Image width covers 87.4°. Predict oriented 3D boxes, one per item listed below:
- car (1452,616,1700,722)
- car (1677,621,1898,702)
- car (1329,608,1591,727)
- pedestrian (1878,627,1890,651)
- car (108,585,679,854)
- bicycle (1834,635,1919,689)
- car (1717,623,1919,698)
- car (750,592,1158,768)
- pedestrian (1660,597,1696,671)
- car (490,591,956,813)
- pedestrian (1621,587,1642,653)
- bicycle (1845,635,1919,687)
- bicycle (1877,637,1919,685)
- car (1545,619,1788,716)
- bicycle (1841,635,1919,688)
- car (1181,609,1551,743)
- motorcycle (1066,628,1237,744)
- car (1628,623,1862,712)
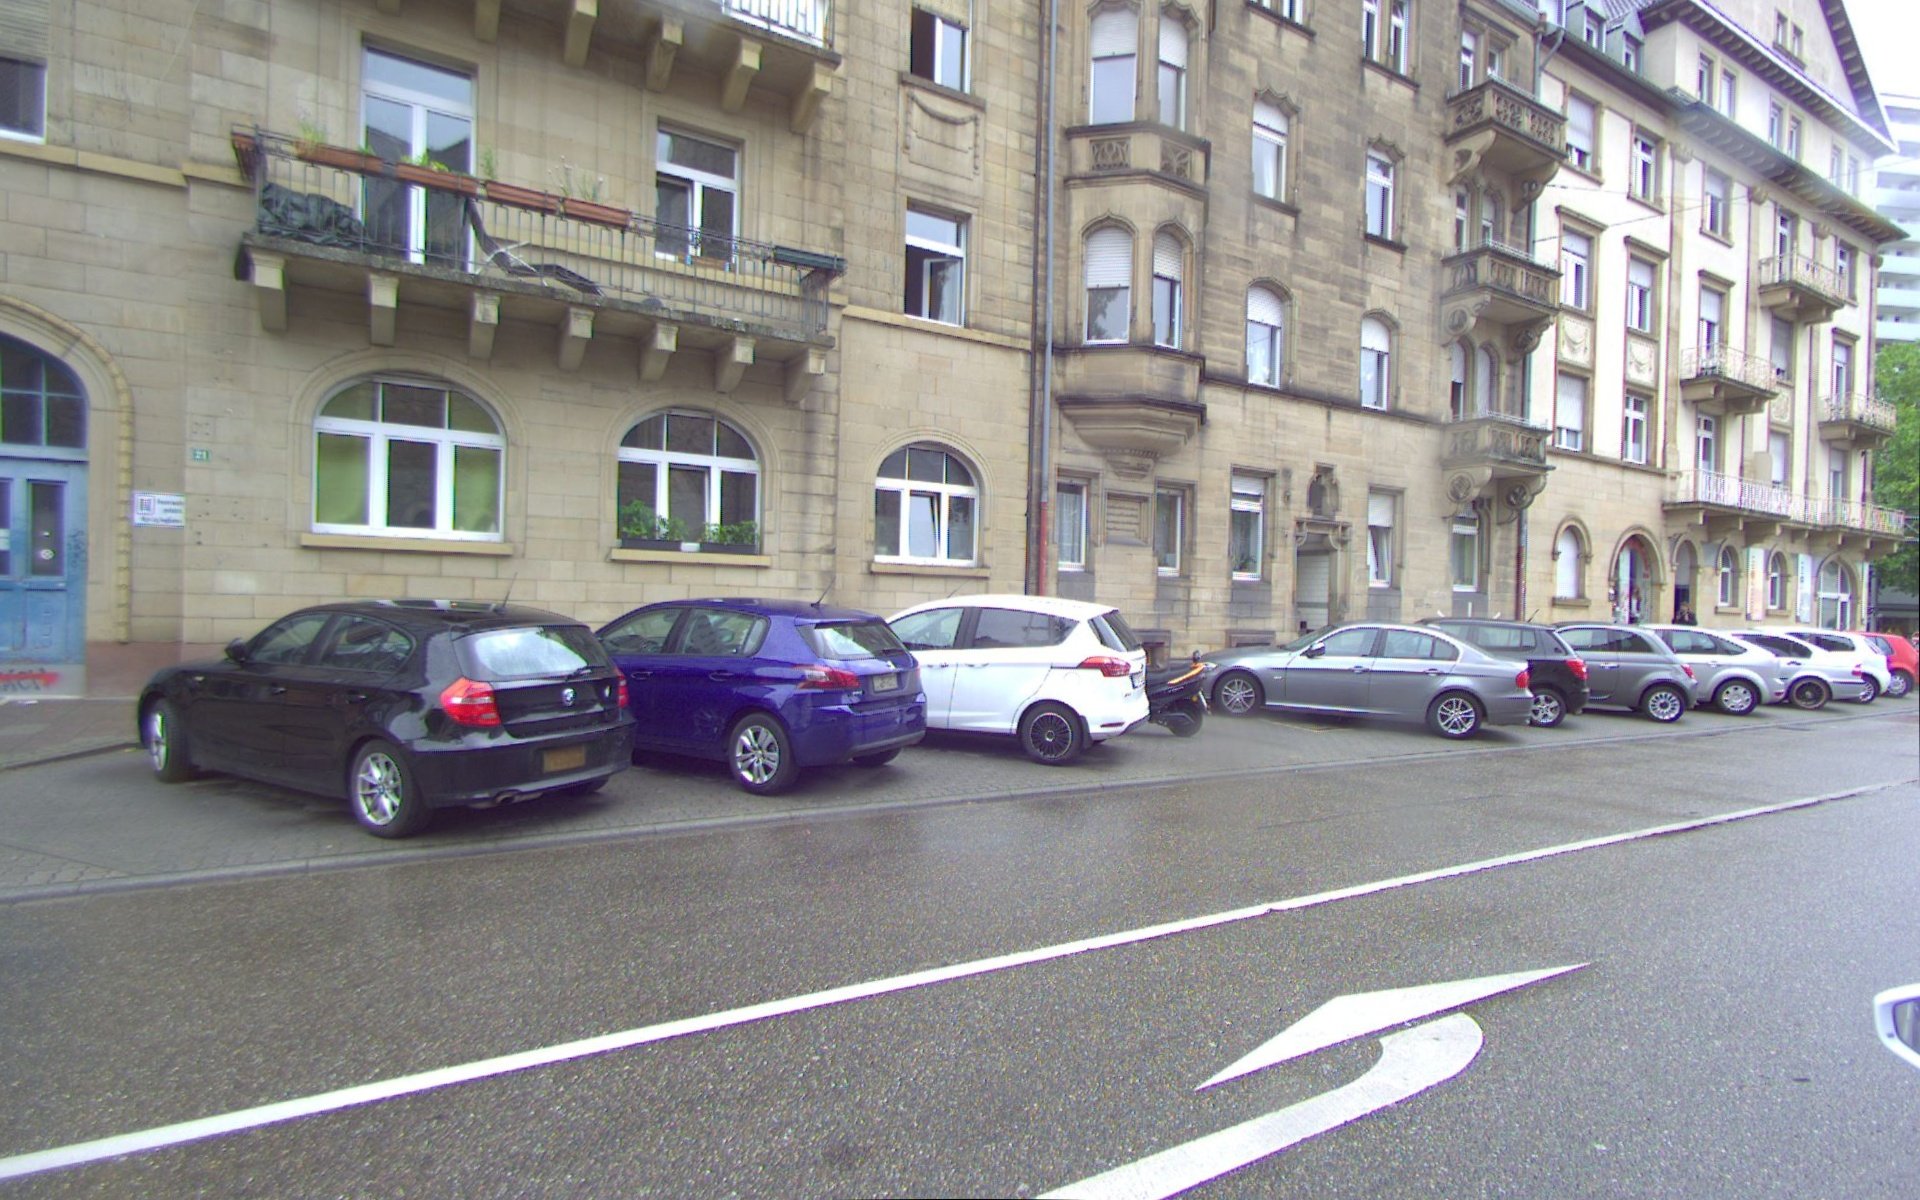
[{"bbox_3d":[10.357,1.105,17.175,3.337,1.578,1.652,1,0,21],"label":"car"},{"bbox_3d":[17.942,1.286,21.971,3.337,1.578,1.705,1,0,21],"label":"car"},{"bbox_3d":[7.663,0.981,15.746,3.484,1.619,1.605,1,0,21],"label":"car"},{"bbox_3d":[60.981,2.568,66.281,0.636,1.550,0.439,1,0,-32],"label":"pedestrian"},{"bbox_3d":[-4.242,0.690,7.477,3.969,1.532,1.797,1,-1,27],"label":"car"},{"bbox_3d":[23.491,1.557,25.606,0.516,1.283,1.754,1,-1,-31],"label":"bicycle"},{"bbox_3d":[20.211,1.378,23.720,3.337,1.578,1.705,1,0,21],"label":"car"},{"bbox_3d":[-0.025,0.750,10.739,3.964,1.576,1.799,1,-1,20],"label":"car"},{"bbox_3d":[19.972,0.942,27.936,0.647,2.040,0.565,1,0,-30],"label":"pedestrian"},{"bbox_3d":[-2.202,0.749,9.092,3.972,1.594,1.795,1,-1,31],"label":"car"},{"bbox_3d":[19.104,0.567,28.576,0.343,1.846,0.364,2,-1,-32],"label":"pedestrian"},{"bbox_3d":[24.463,1.586,26.358,0.492,1.283,1.801,1,-1,-31],"label":"bicycle"},{"bbox_3d":[26.122,1.660,27.251,0.601,1.283,1.754,1,-1,-31],"label":"bicycle"},{"bbox_3d":[12.956,1.193,18.656,3.337,1.578,1.705,1,0,21],"label":"car"},{"bbox_3d":[23.947,1.561,25.899,0.492,1.283,1.801,1,-1,-31],"label":"bicycle"},{"bbox_3d":[5.404,0.960,13.872,4.457,1.565,1.689,1,-1,17],"label":"car"},{"bbox_3d":[2.254,0.977,11.866,1.837,1.177,0.633,3,1,23],"label":"motorcycle"},{"bbox_3d":[15.664,1.292,20.255,3.337,1.578,1.705,1,0,21],"label":"car"}]
